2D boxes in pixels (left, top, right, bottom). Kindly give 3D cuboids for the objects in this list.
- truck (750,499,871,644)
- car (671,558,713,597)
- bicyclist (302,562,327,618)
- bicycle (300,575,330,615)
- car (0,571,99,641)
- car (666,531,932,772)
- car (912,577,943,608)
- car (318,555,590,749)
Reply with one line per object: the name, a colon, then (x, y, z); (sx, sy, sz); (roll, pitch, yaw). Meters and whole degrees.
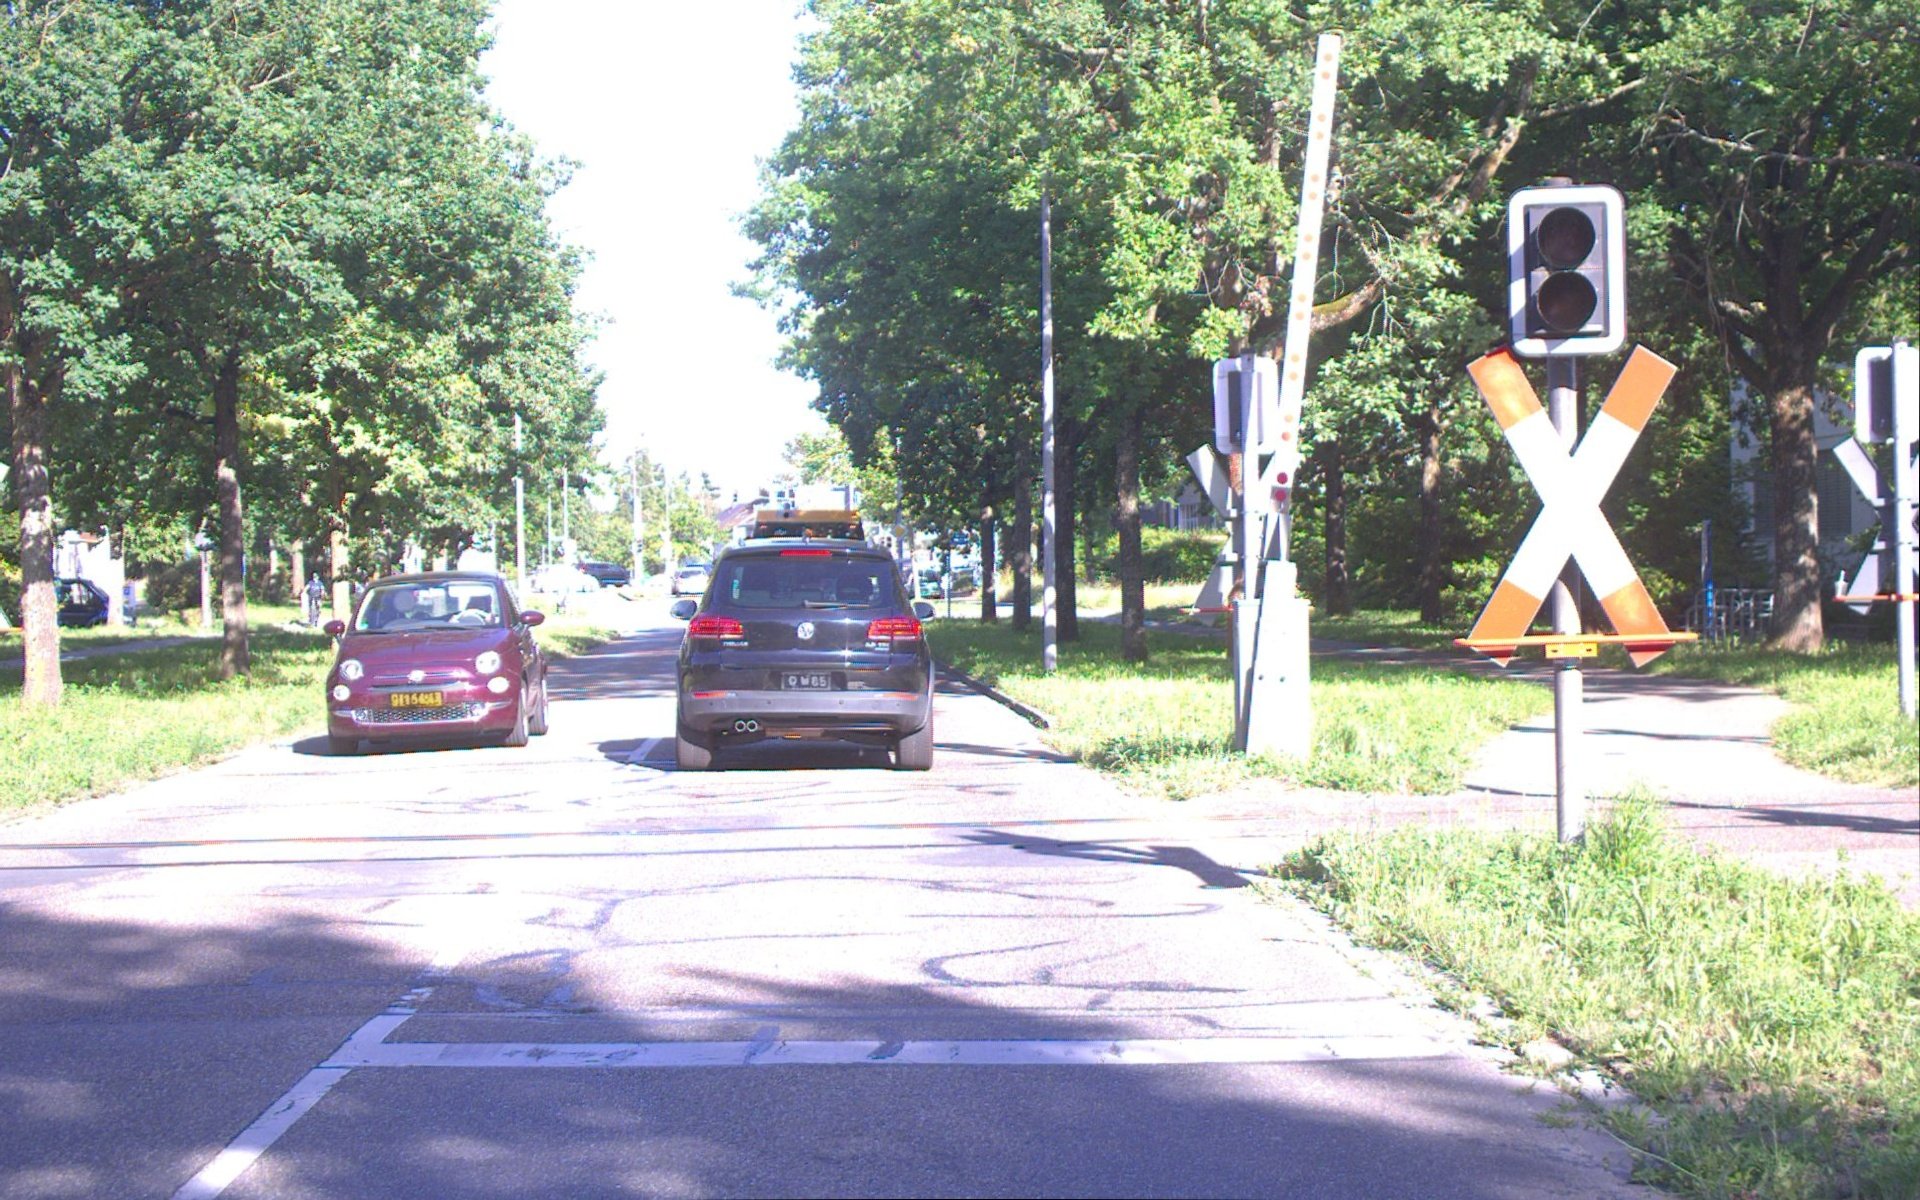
truck: (-3.476, -0.687, 81.508); (2.512, 3.232, 8.152); (-1, 1, 0)
car: (-14.380, -1.218, 184.094); (1.993, 2.007, 4.001); (1, 1, -8)
bicyclist: (-21.533, -0.335, 114.738); (0.686, 1.825, 0.934); (1, 1, -3)
bicycle: (-21.533, -0.178, 114.797); (0.717, 1.317, 1.992); (1, 1, -3)
car: (-28.554, 0.162, 101.942); (5.788, 2.007, 2.001); (1, 1, -12)
car: (-1.120, 0.332, 25.611); (1.782, 1.628, 4.000); (1, 1, 0)
car: (-1.573, -0.367, 165.406); (1.452, 1.401, 2.856); (1, 1, -1)
car: (-4.286, 0.399, 29.657); (1.565, 1.499, 4.000); (-2, 1, 2)
